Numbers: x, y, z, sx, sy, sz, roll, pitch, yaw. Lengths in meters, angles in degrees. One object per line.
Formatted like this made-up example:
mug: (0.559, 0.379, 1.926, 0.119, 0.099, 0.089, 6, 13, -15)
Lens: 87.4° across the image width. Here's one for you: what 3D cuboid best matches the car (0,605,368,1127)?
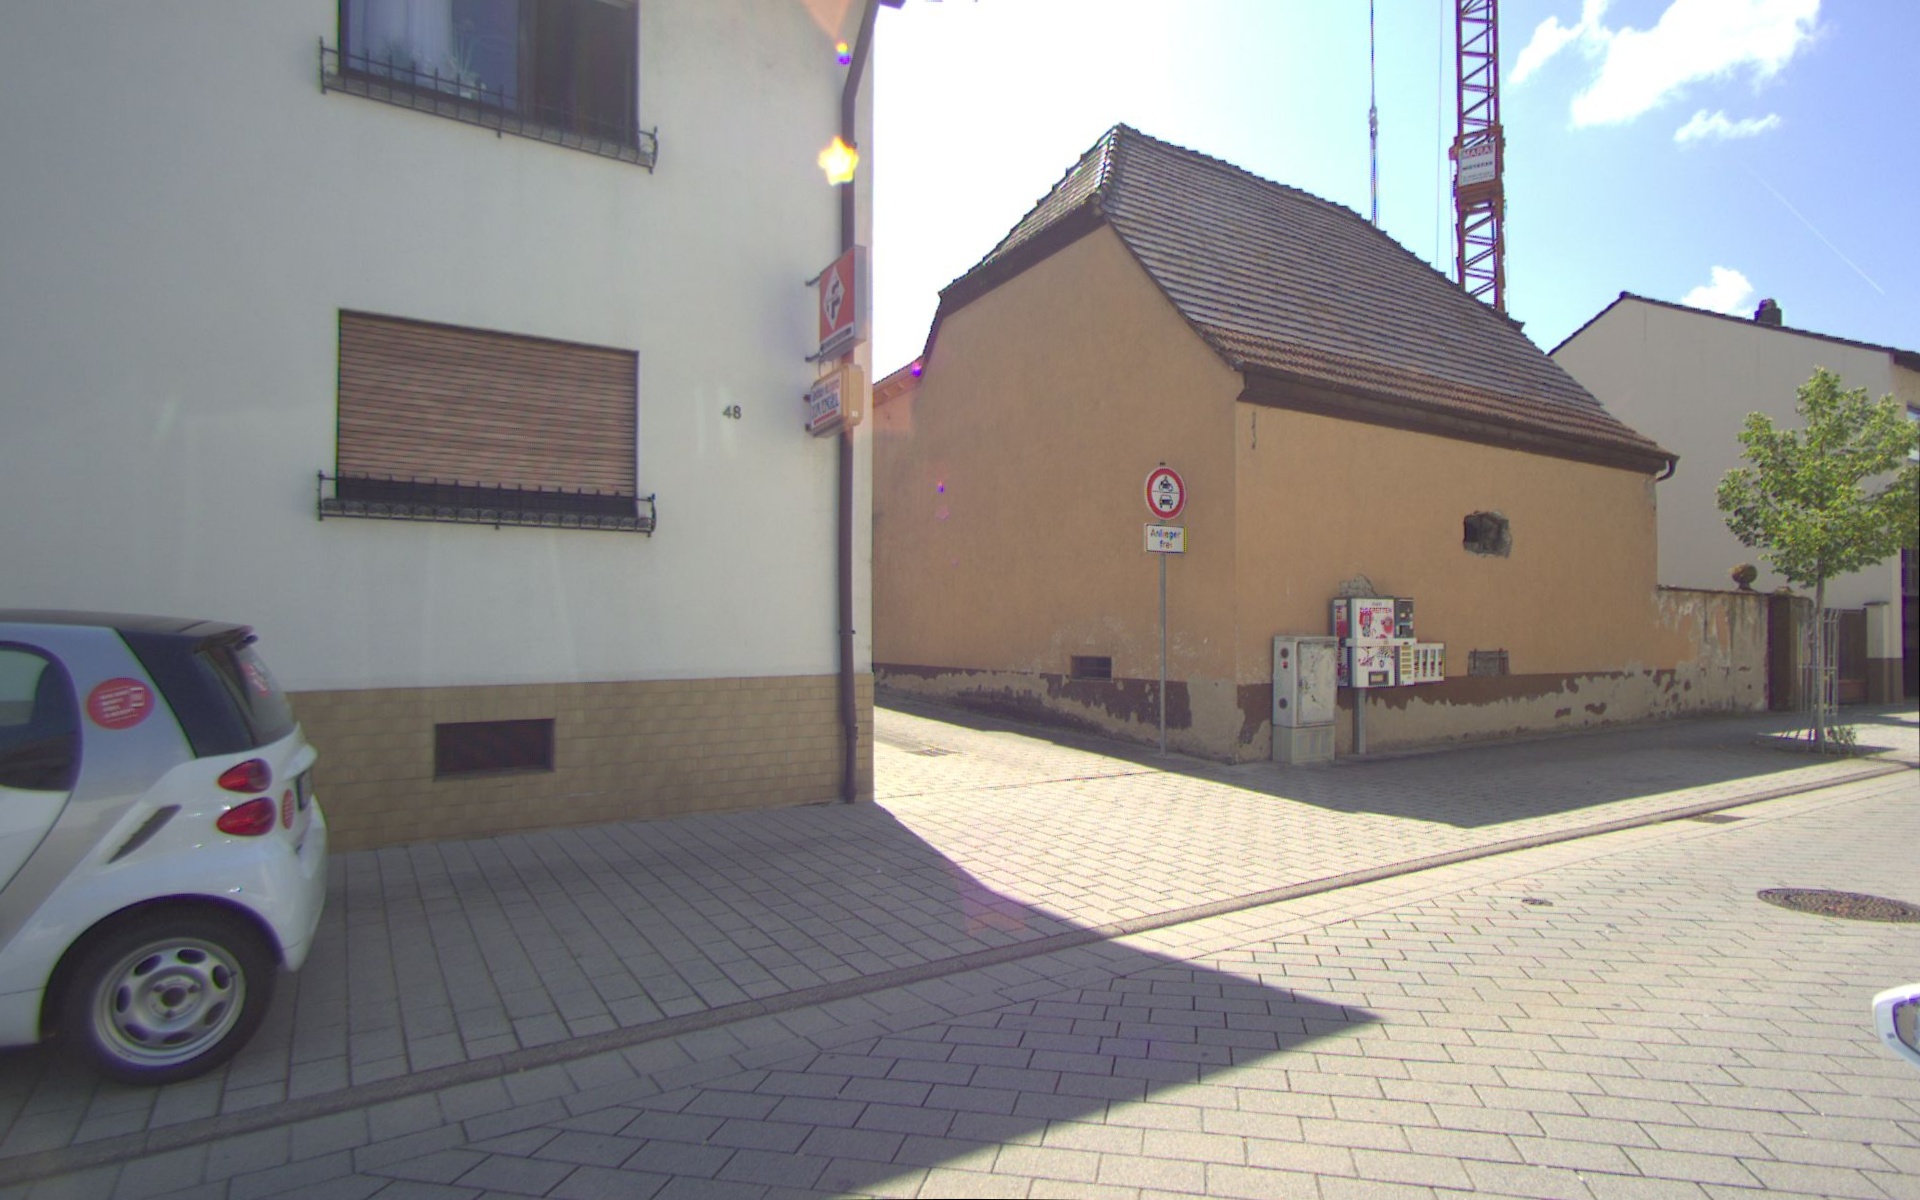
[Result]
car: (-3.772, 0.821, 3.555, 2.787, 1.582, 1.566, 1, 0, -28)
